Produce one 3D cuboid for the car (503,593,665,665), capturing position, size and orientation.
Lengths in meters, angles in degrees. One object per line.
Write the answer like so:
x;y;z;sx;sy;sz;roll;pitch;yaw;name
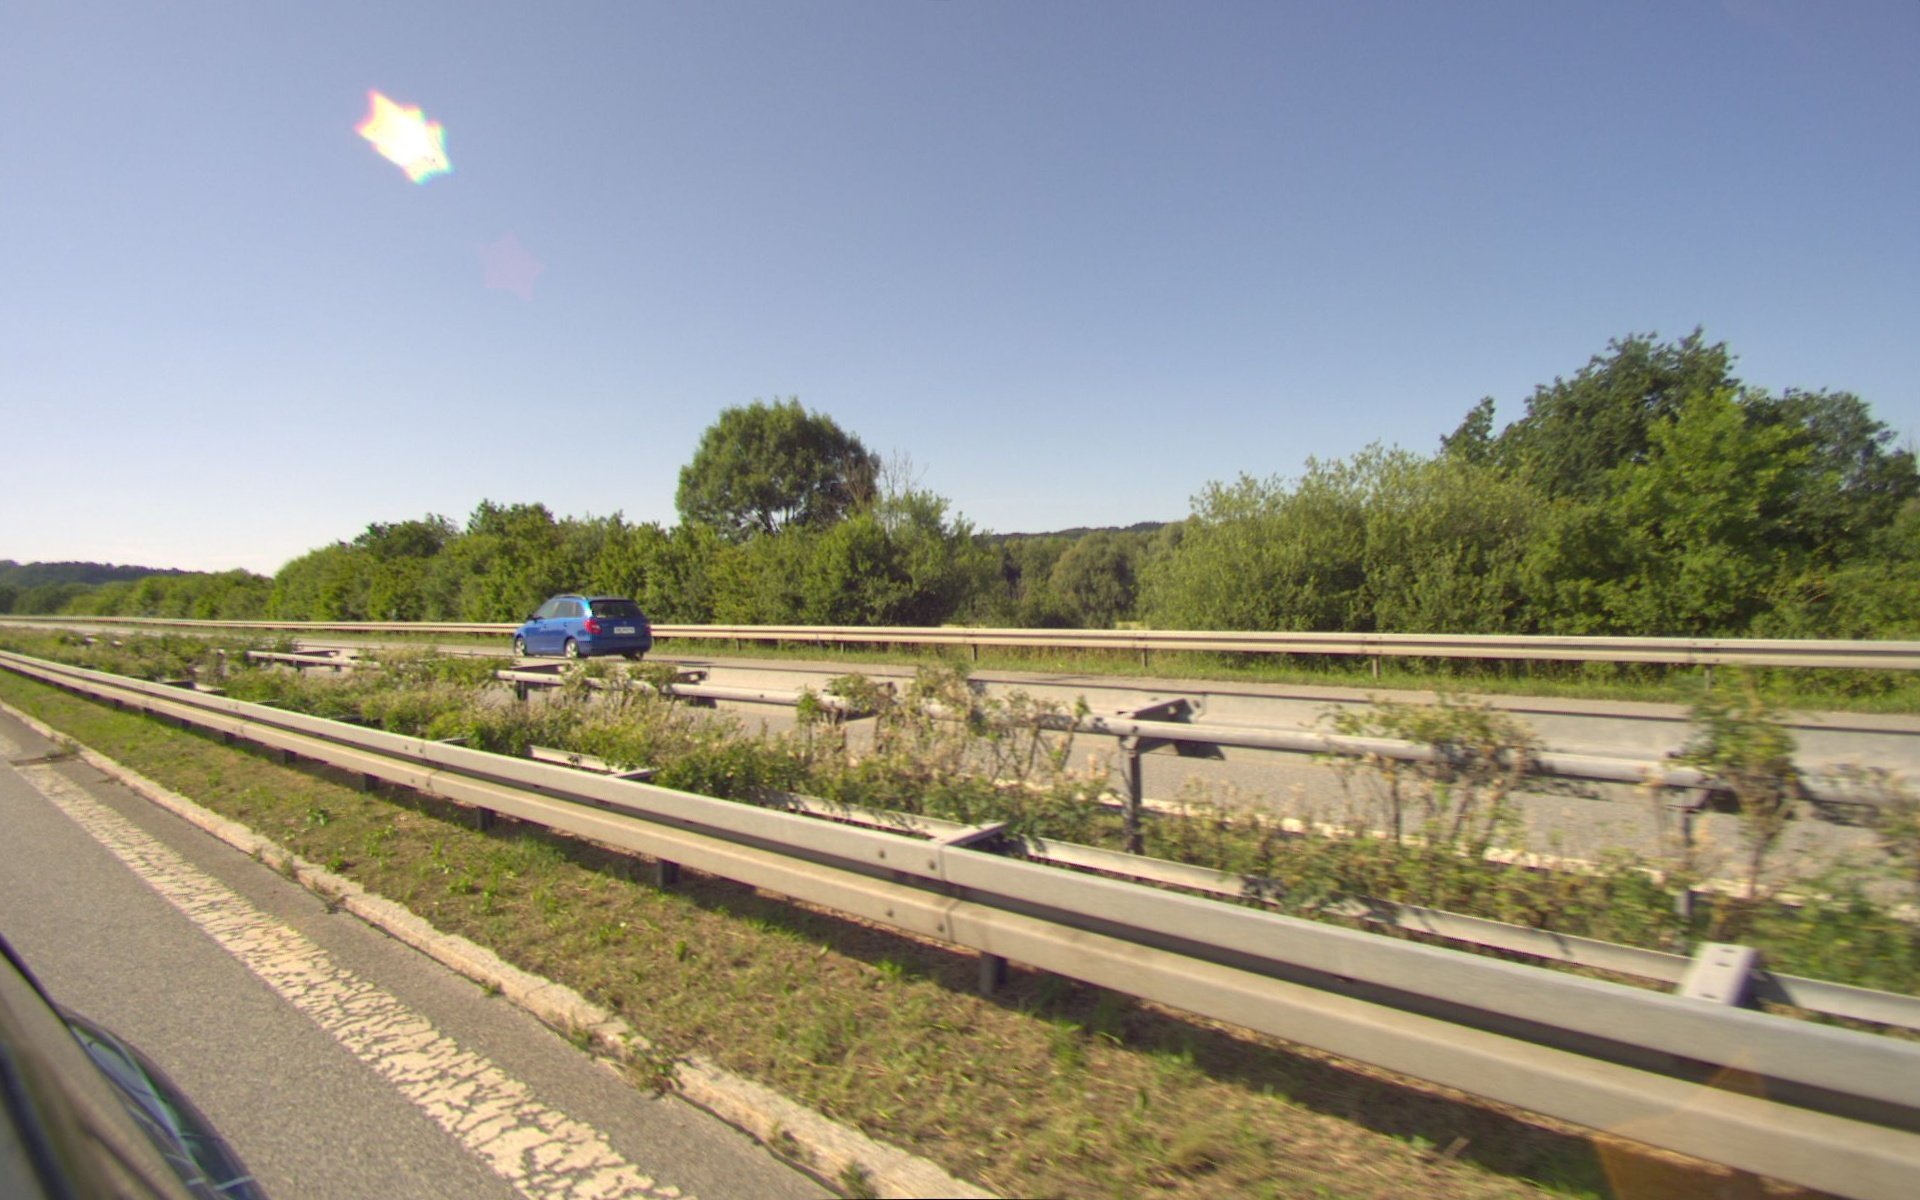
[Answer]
-8.384;0.615;22.435;3.998;1.452;1.659;-1;-1;41;car
